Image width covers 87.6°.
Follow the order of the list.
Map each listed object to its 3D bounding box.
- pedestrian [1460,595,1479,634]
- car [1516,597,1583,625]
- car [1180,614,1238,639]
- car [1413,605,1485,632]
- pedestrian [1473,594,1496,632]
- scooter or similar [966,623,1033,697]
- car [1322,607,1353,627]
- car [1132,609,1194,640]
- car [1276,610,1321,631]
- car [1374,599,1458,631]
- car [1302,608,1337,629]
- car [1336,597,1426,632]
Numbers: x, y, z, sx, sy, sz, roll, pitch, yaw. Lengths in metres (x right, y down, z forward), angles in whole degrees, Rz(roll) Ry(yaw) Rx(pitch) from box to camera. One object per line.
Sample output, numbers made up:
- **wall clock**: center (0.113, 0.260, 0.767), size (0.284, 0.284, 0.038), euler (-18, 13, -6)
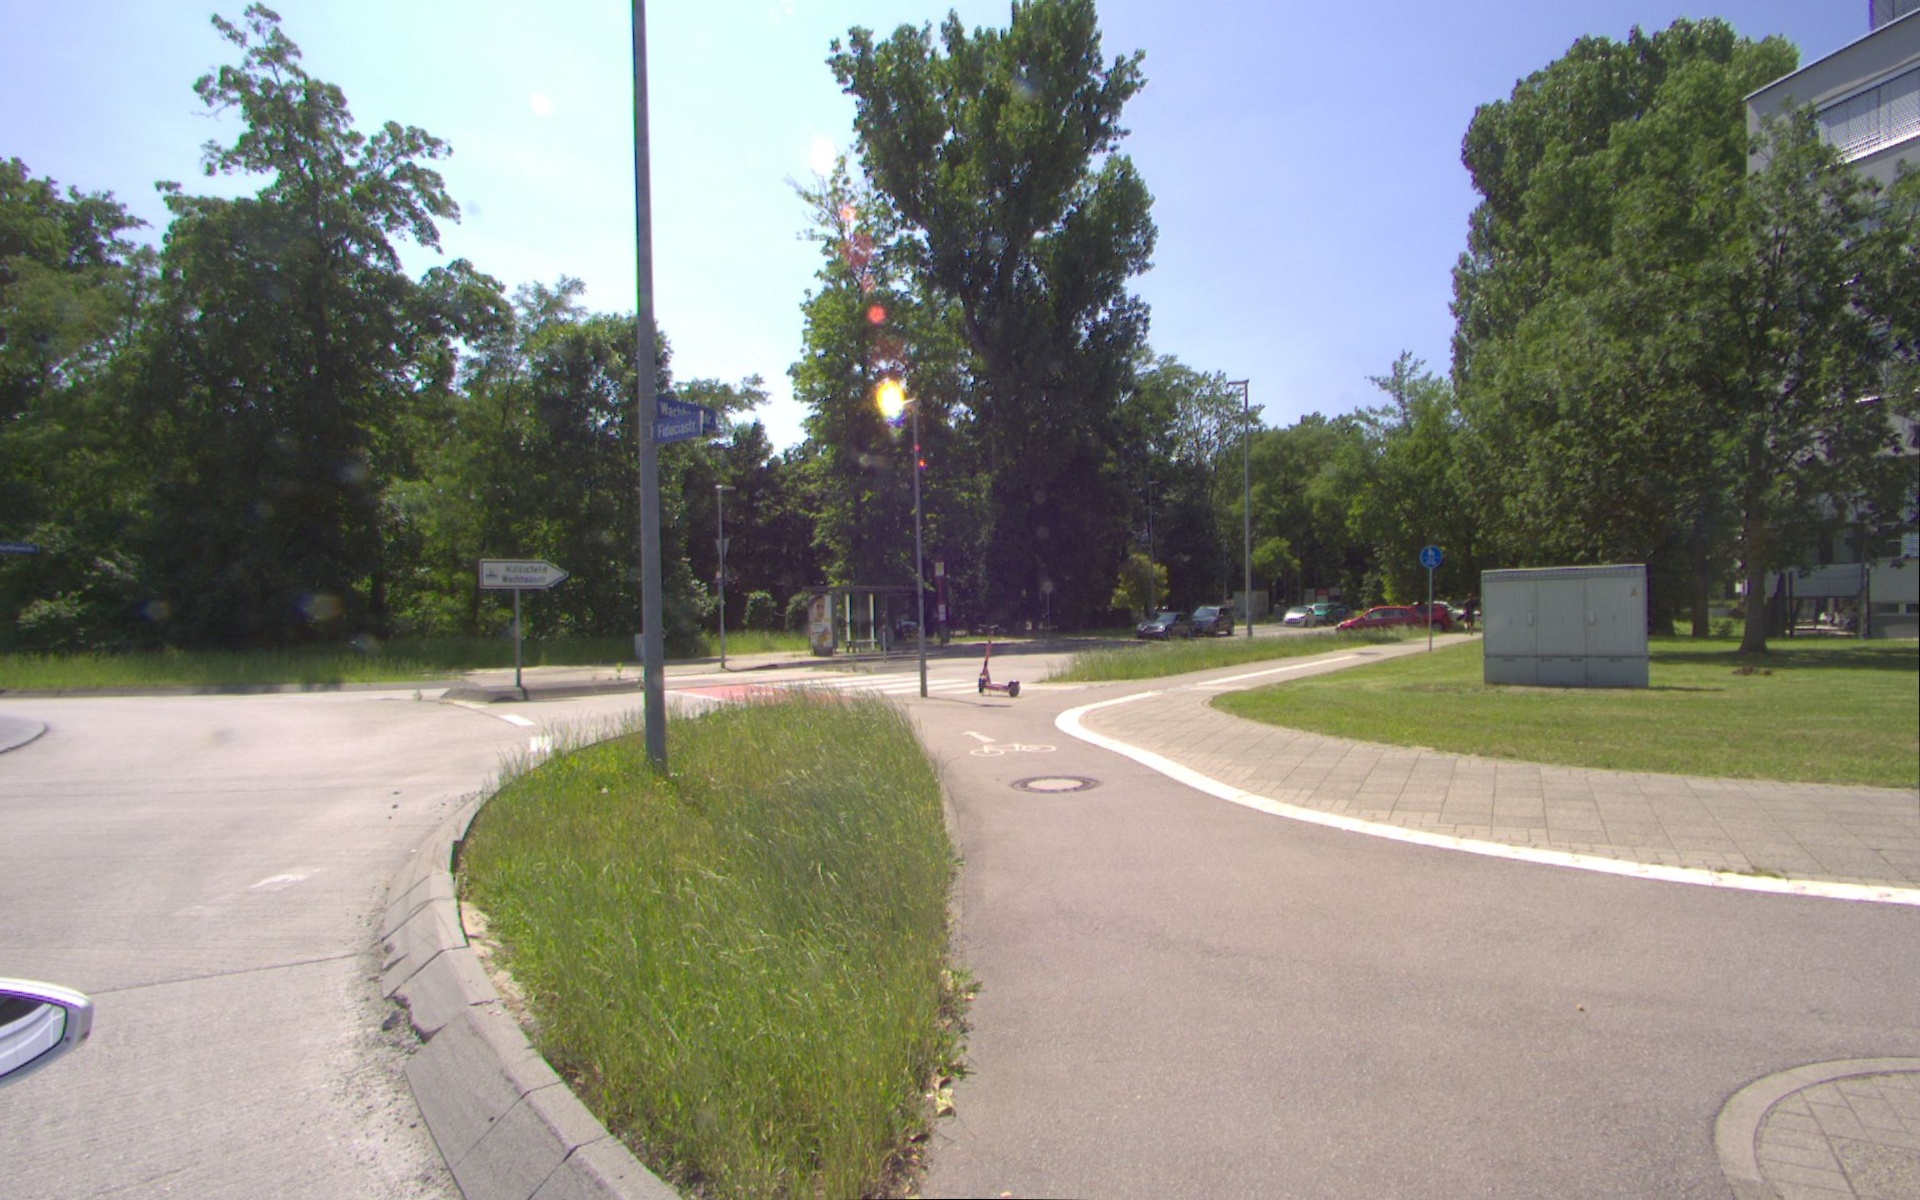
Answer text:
- **pedestrian**: center (21.822, 0.622, 42.907), size (0.580, 1.637, 0.483), euler (0, -1, -31)
- **car**: center (44.592, 0.850, 75.792), size (1.968, 2.039, 3.987), euler (0, -1, -24)
- **car**: center (14.222, 1.510, 57.083), size (1.973, 1.327, 3.977), euler (-2, -2, 34)
- **car**: center (28.587, 1.110, 58.514), size (3.632, 1.502, 1.860), euler (-2, -1, 32)
- **pedestrian**: center (22.524, 0.558, 42.995), size (0.564, 1.629, 0.641), euler (0, -1, -28)
- **scooter or similar**: center (0.665, 1.010, 17.189), size (0.442, 1.217, 1.391), euler (0, -1, -32)
- **car**: center (30.567, 1.392, 80.992), size (1.711, 1.513, 3.427), euler (-1, 0, 32)
- **car**: center (10.545, 1.246, 51.956), size (1.680, 1.506, 3.976), euler (2, 0, 35)
- **car**: center (24.568, 1.503, 72.655), size (1.975, 1.488, 3.974), euler (-2, -2, 37)
- **car**: center (22.939, 0.755, 50.363), size (3.632, 1.502, 1.860), euler (-2, -1, 32)
- **car**: center (27.310, 1.428, 76.048), size (1.713, 1.563, 3.425), euler (-2, -2, 34)
- **car**: center (19.644, 0.702, 46.760), size (3.632, 1.502, 1.860), euler (-2, -1, 32)
